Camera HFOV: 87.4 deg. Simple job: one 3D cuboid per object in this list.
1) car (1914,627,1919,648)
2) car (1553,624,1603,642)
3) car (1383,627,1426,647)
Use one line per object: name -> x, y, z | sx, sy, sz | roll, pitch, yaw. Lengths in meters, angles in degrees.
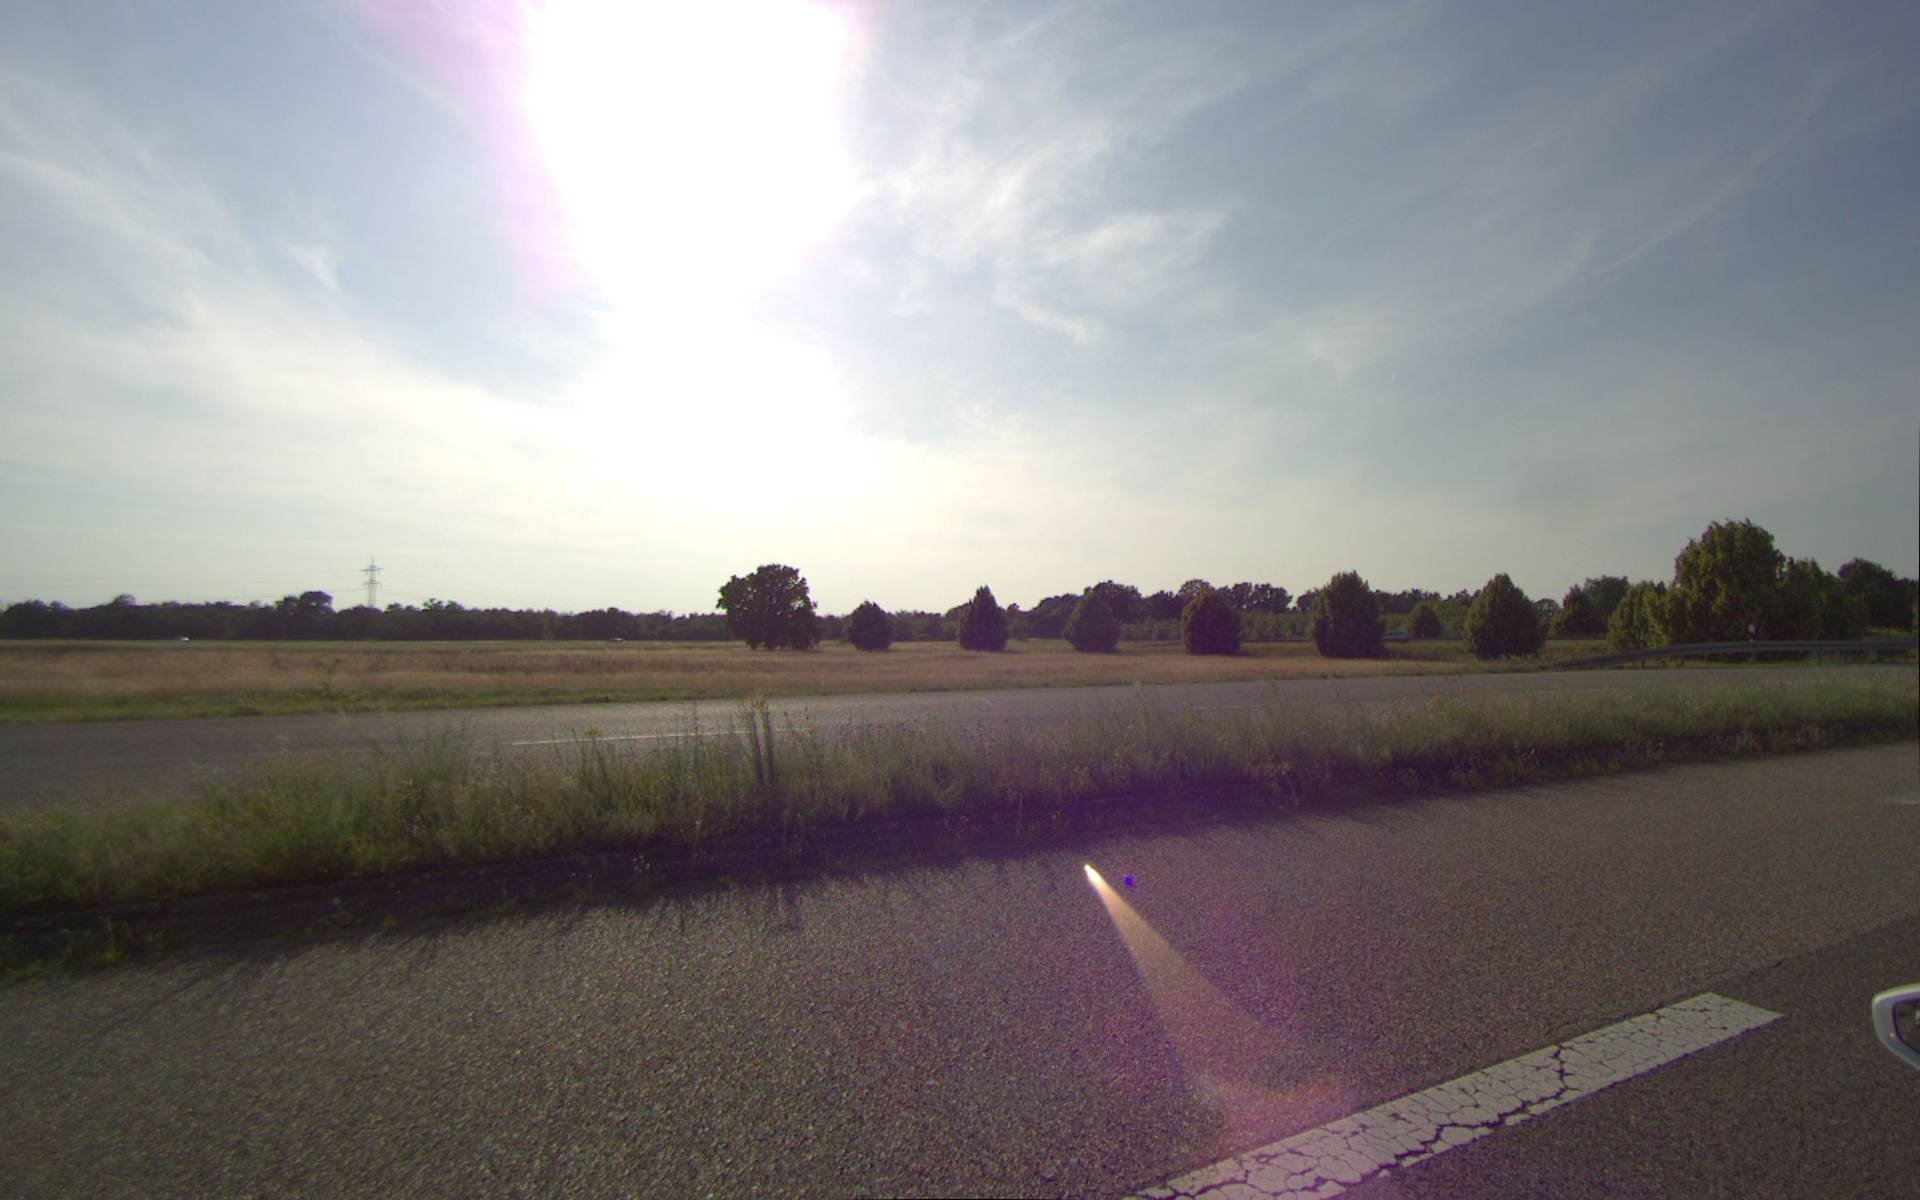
car -> 71.371, 2.772, 72.042 | 1.749, 1.512, 3.972 | 1, 0, -16
car -> 65.019, 3.468, 105.716 | 1.978, 1.689, 3.965 | 2, 0, -32
car -> 49.870, 4.136, 112.804 | 1.983, 2.040, 3.955 | 2, 0, -39
